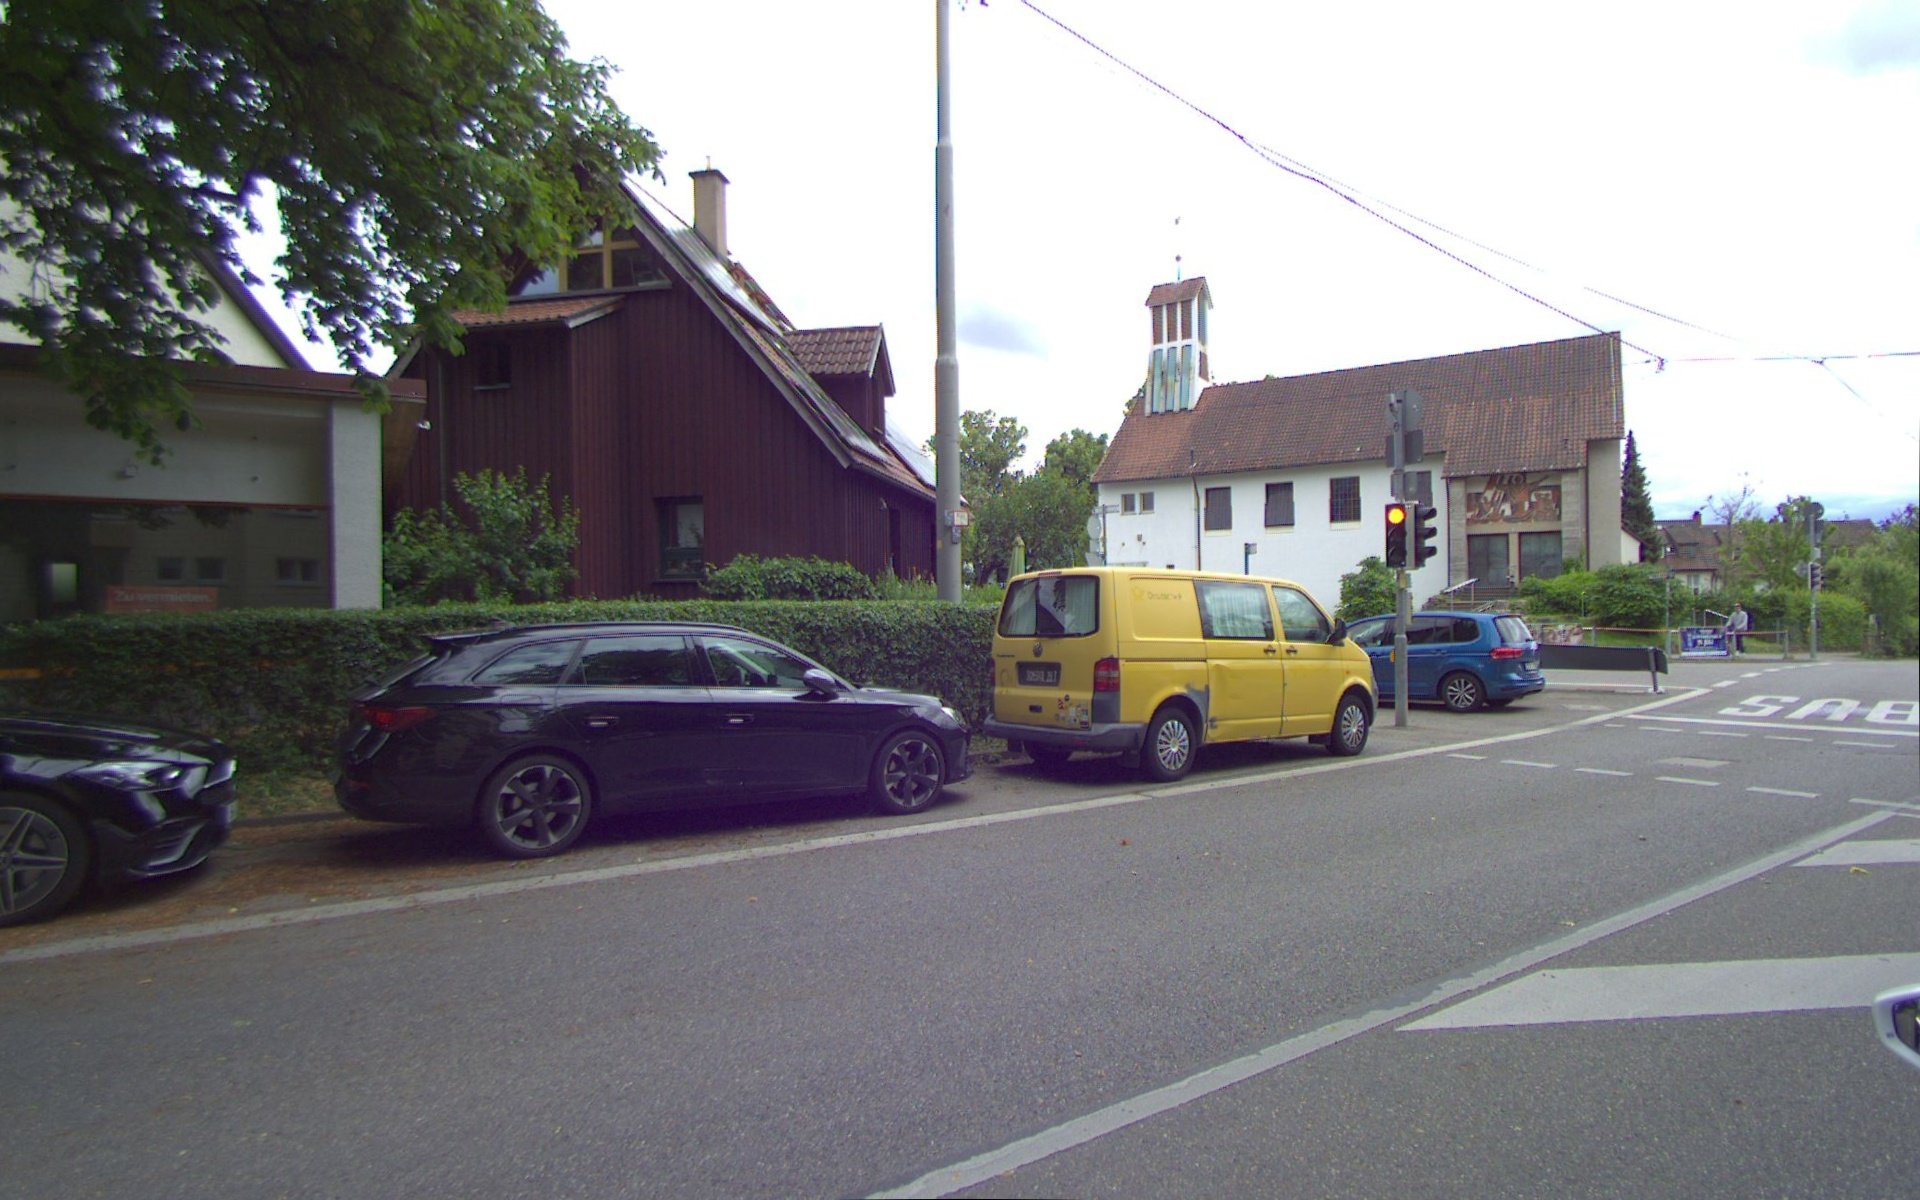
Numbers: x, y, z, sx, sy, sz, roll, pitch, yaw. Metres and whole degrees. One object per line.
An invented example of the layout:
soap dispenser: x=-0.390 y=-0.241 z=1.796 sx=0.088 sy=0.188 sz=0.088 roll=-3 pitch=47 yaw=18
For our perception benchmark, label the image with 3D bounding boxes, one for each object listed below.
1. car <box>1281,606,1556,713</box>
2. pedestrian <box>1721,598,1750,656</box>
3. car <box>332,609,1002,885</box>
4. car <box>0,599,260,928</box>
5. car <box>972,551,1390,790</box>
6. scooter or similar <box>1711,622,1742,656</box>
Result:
car: x=7.823 y=0.993 z=17.368 sx=1.806 sy=1.632 sz=3.948 roll=1 pitch=-3 yaw=-44
pedestrian: x=25.753 y=0.891 z=33.368 sx=0.879 sy=1.887 sz=0.568 roll=1 pitch=-1 yaw=-39
car: x=-1.987 y=0.848 z=7.442 sx=4.494 sy=1.505 sz=1.681 roll=1 pitch=-2 yaw=-34
car: x=-6.203 y=0.766 z=4.758 sx=4.561 sy=1.520 sz=1.984 roll=1 pitch=-2 yaw=-31
car: x=2.471 y=0.650 z=10.686 sx=4.523 sy=2.040 sz=1.870 roll=1 pitch=-2 yaw=-37
scooter or similar: x=24.980 y=1.254 z=32.737 sx=1.102 sy=1.095 sz=0.571 roll=1 pitch=-2 yaw=-40
